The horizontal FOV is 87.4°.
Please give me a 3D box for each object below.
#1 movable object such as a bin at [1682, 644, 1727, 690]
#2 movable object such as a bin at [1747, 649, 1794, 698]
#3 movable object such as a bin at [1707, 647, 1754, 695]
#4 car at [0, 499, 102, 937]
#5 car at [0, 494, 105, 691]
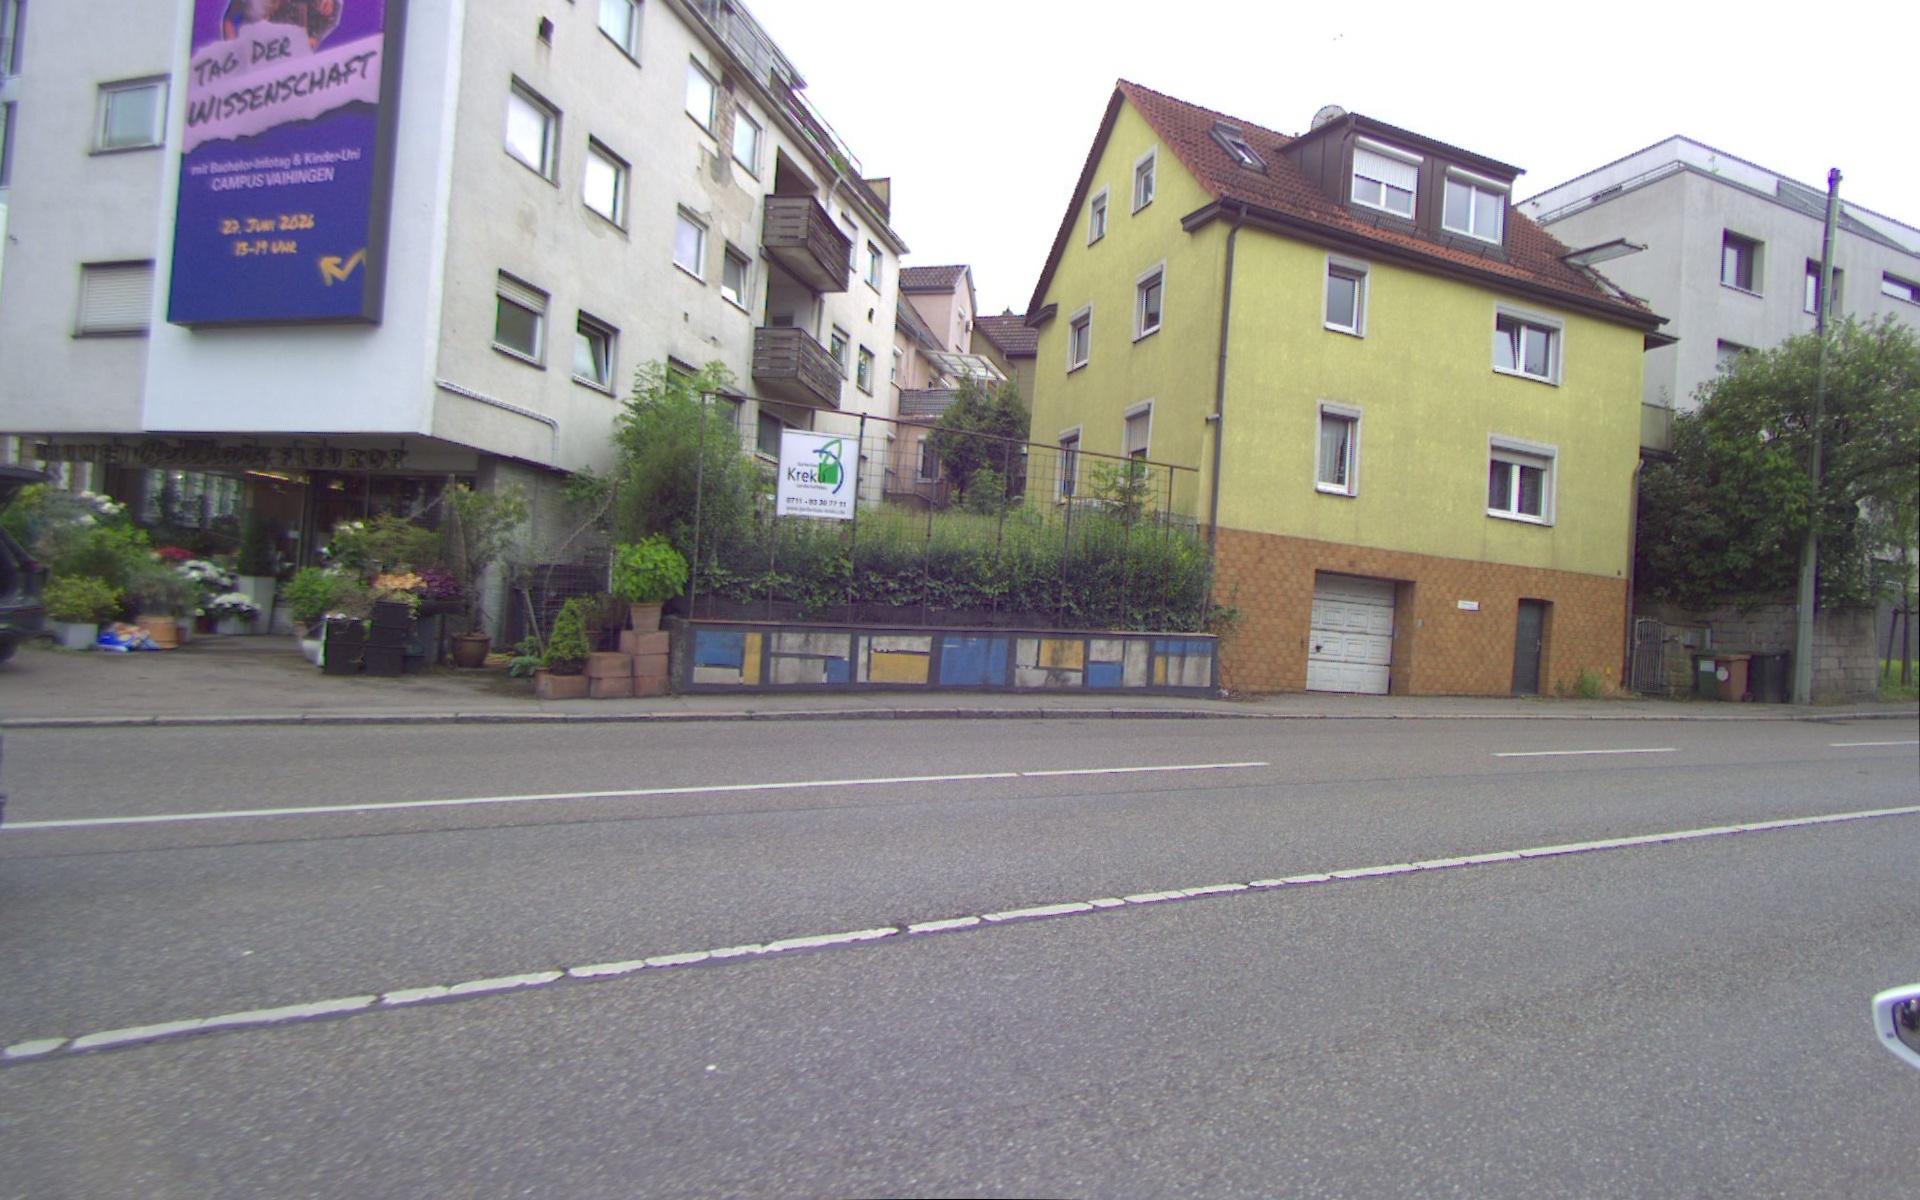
[{"bbox_3d":[15.531,1.389,20.961,0.605,0.897,0.563,1,3,-38],"label":"movable object such as a bin"},{"bbox_3d":[15.849,1.427,19.643,0.605,0.897,0.563,1,3,-38],"label":"movable object such as a bin"},{"bbox_3d":[15.409,1.411,20.084,0.605,0.897,0.563,1,3,-38],"label":"movable object such as a bin"},{"bbox_3d":[-5.816,0.400,3.246,4.295,1.718,1.887,2,1,-29],"label":"car"},{"bbox_3d":[-11.251,-0.287,9.829,4.612,1.735,2.318,8,6,18],"label":"car"}]
